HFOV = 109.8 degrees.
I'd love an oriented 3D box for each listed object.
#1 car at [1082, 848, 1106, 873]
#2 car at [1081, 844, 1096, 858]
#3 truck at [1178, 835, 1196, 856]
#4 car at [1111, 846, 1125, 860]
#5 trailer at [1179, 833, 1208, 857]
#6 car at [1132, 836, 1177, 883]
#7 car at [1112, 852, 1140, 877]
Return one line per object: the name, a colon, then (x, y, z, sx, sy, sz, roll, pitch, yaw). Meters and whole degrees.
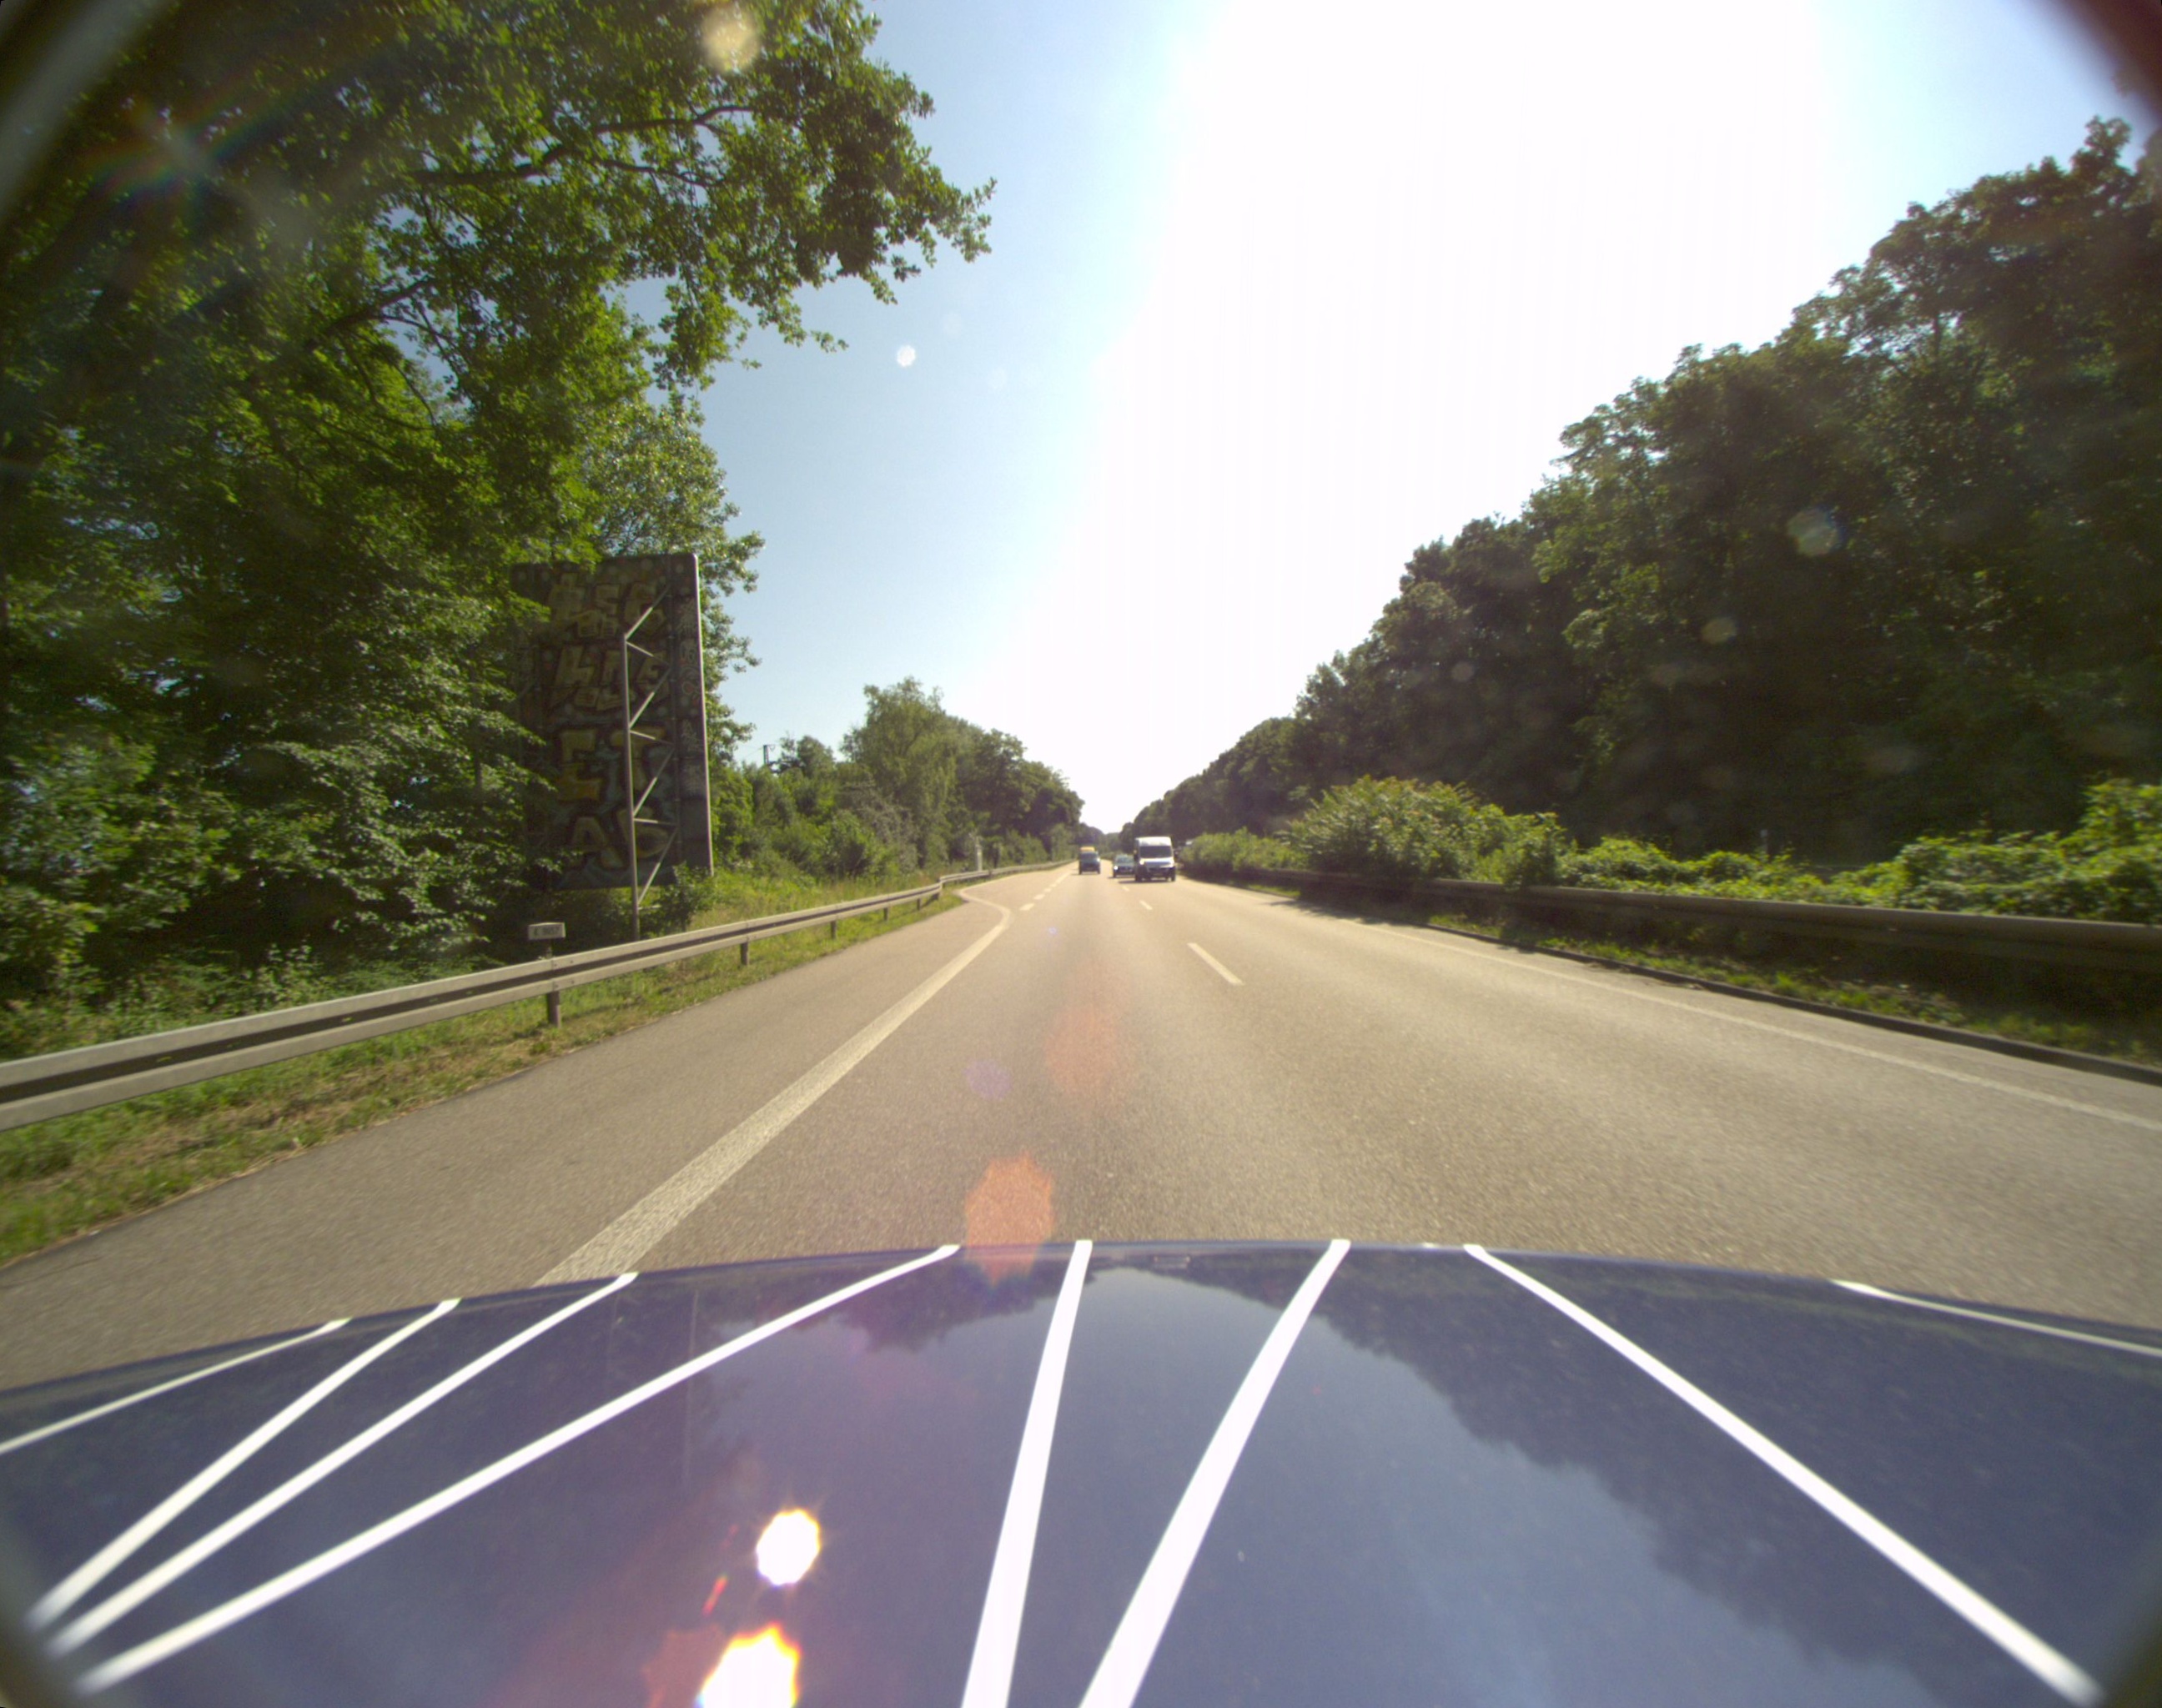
car: (1.062, 0.485, 63.026, 1.812, 1.921, 4.581, -2, 0, 1)
car: (0.935, -0.351, 93.919, 1.737, 1.624, 3.899, -2, 0, 1)
truck: (17.049, -1.371, 122.411, 2.431, 3.239, 4.000, -2, 0, 1)
car: (4.451, -0.109, 90.980, 1.517, 1.624, 3.611, -2, 0, 1)
trailer: (16.897, -1.307, 114.913, 2.499, 3.216, 14.431, -2, 0, 1)
car: (4.088, 0.291, 42.832, 2.046, 2.429, 4.638, -2, 0, 1)
car: (3.023, 0.684, 51.624, 1.666, 1.624, 3.644, -2, 0, 1)
